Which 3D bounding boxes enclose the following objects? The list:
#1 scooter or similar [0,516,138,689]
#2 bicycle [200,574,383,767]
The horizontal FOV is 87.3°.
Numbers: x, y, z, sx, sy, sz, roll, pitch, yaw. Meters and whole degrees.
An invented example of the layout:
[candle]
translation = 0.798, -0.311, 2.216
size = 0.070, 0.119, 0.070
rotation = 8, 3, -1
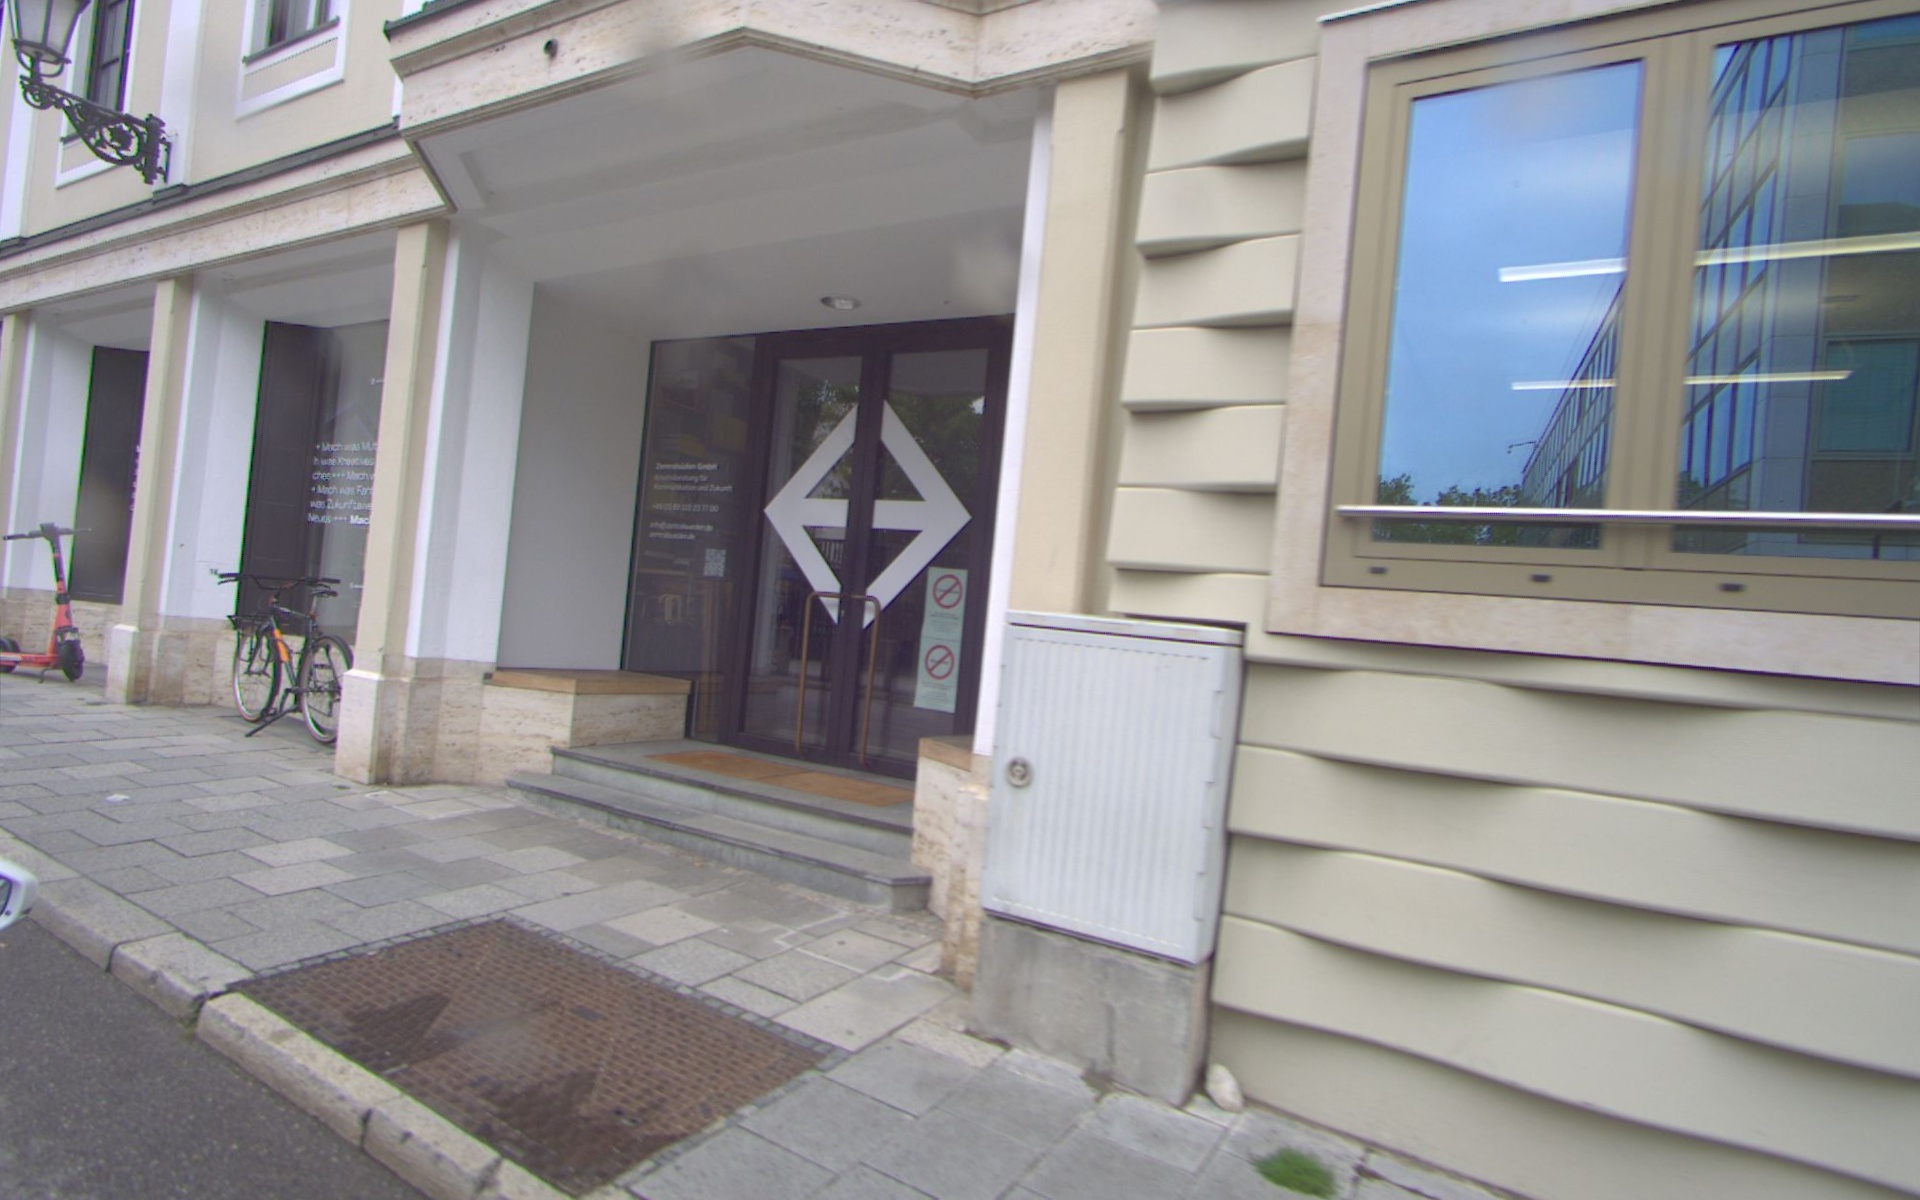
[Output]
[scooter or similar]
translation = -7.443, -0.001, 8.212
size = 1.253, 1.275, 0.466
rotation = 6, 2, 18
[bicycle]
translation = -4.583, 0.418, 6.823
size = 2.049, 1.007, 0.463
rotation = 7, 1, 42
